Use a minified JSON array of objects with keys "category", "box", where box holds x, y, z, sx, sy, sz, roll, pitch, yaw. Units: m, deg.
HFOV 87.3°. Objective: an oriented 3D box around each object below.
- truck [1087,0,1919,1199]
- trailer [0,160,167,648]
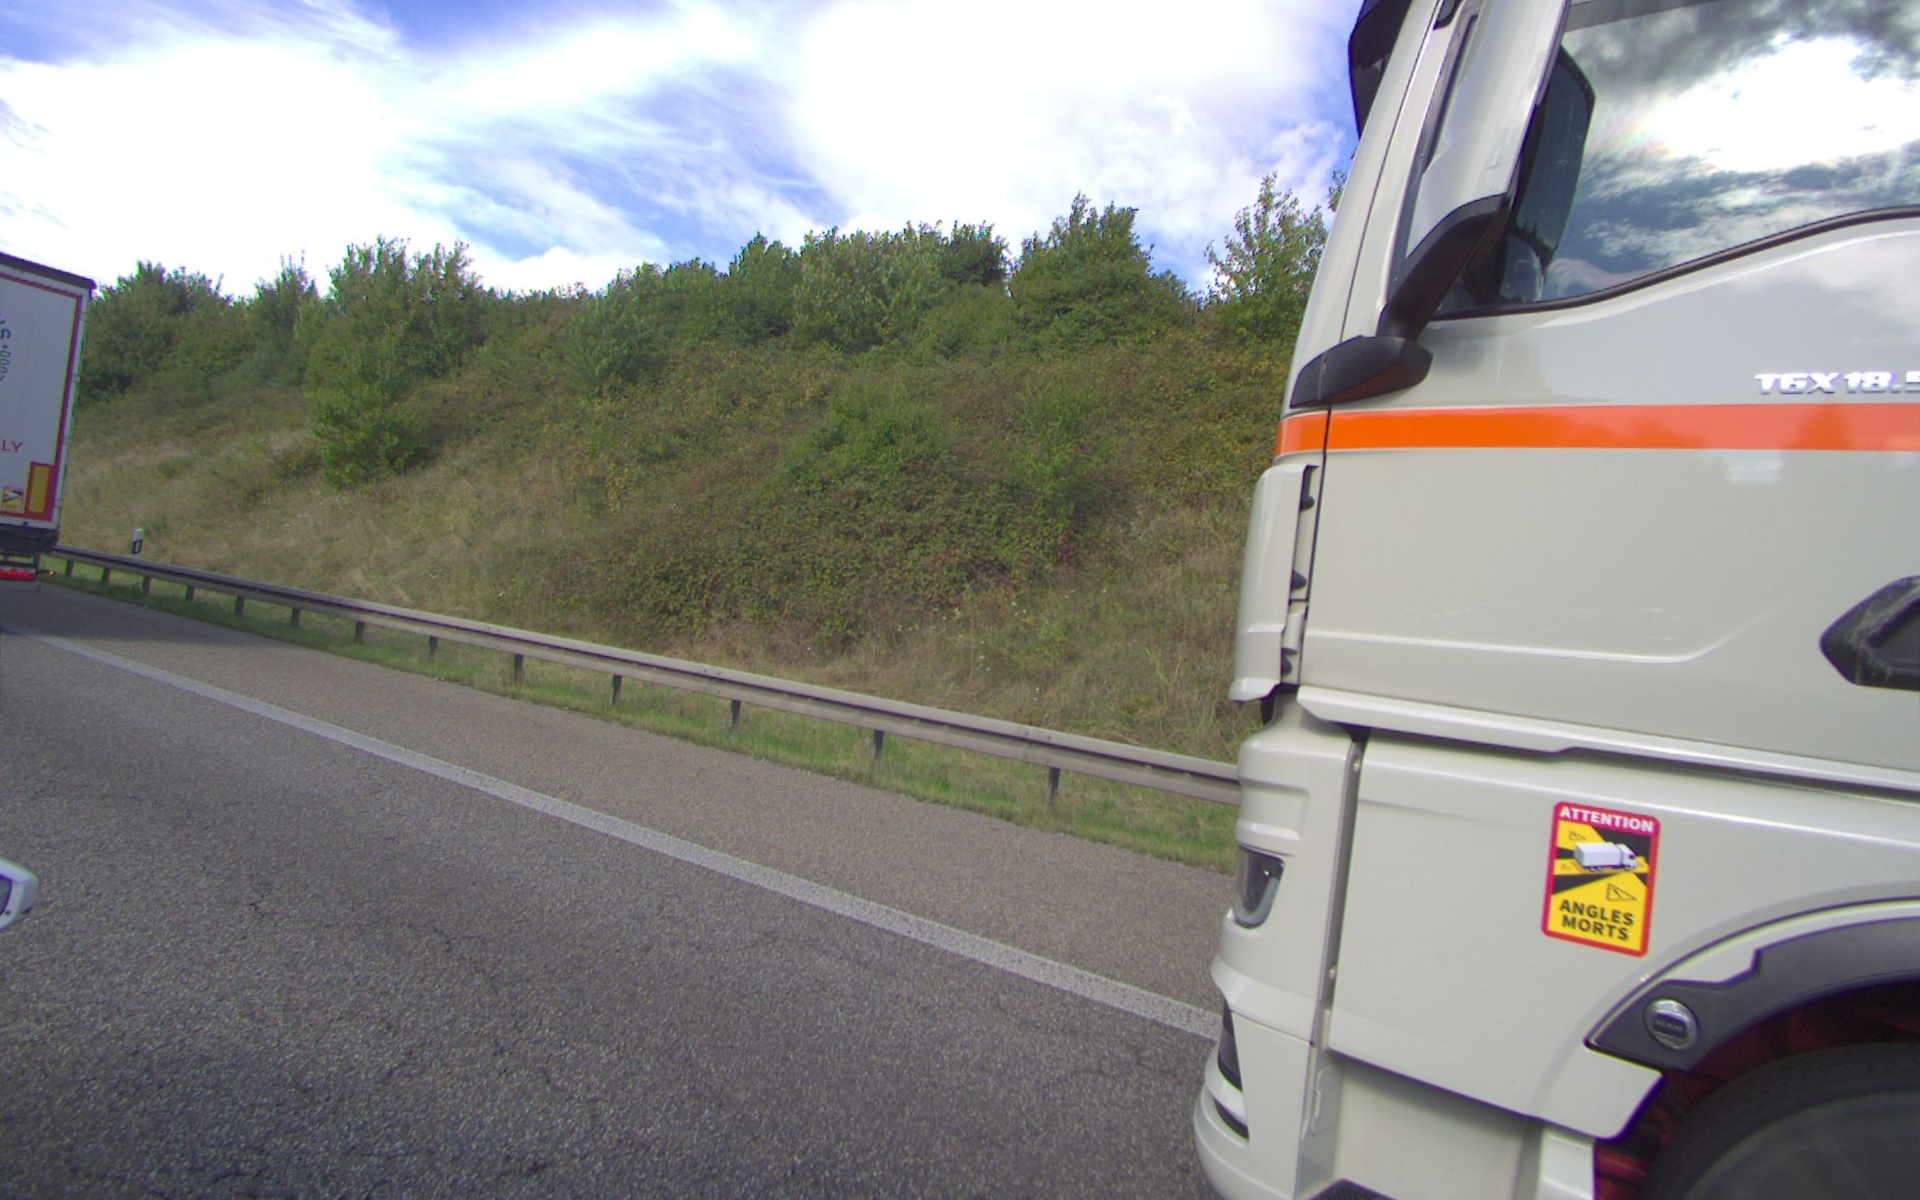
[{"category":"truck","box":[3.647,-0.107,1.750,5.808,4.091,2.806,7,-1,33]},{"category":"trailer","box":[-15.253,-2.612,13.140,13.069,4.716,3.007,7,-1,32]}]
